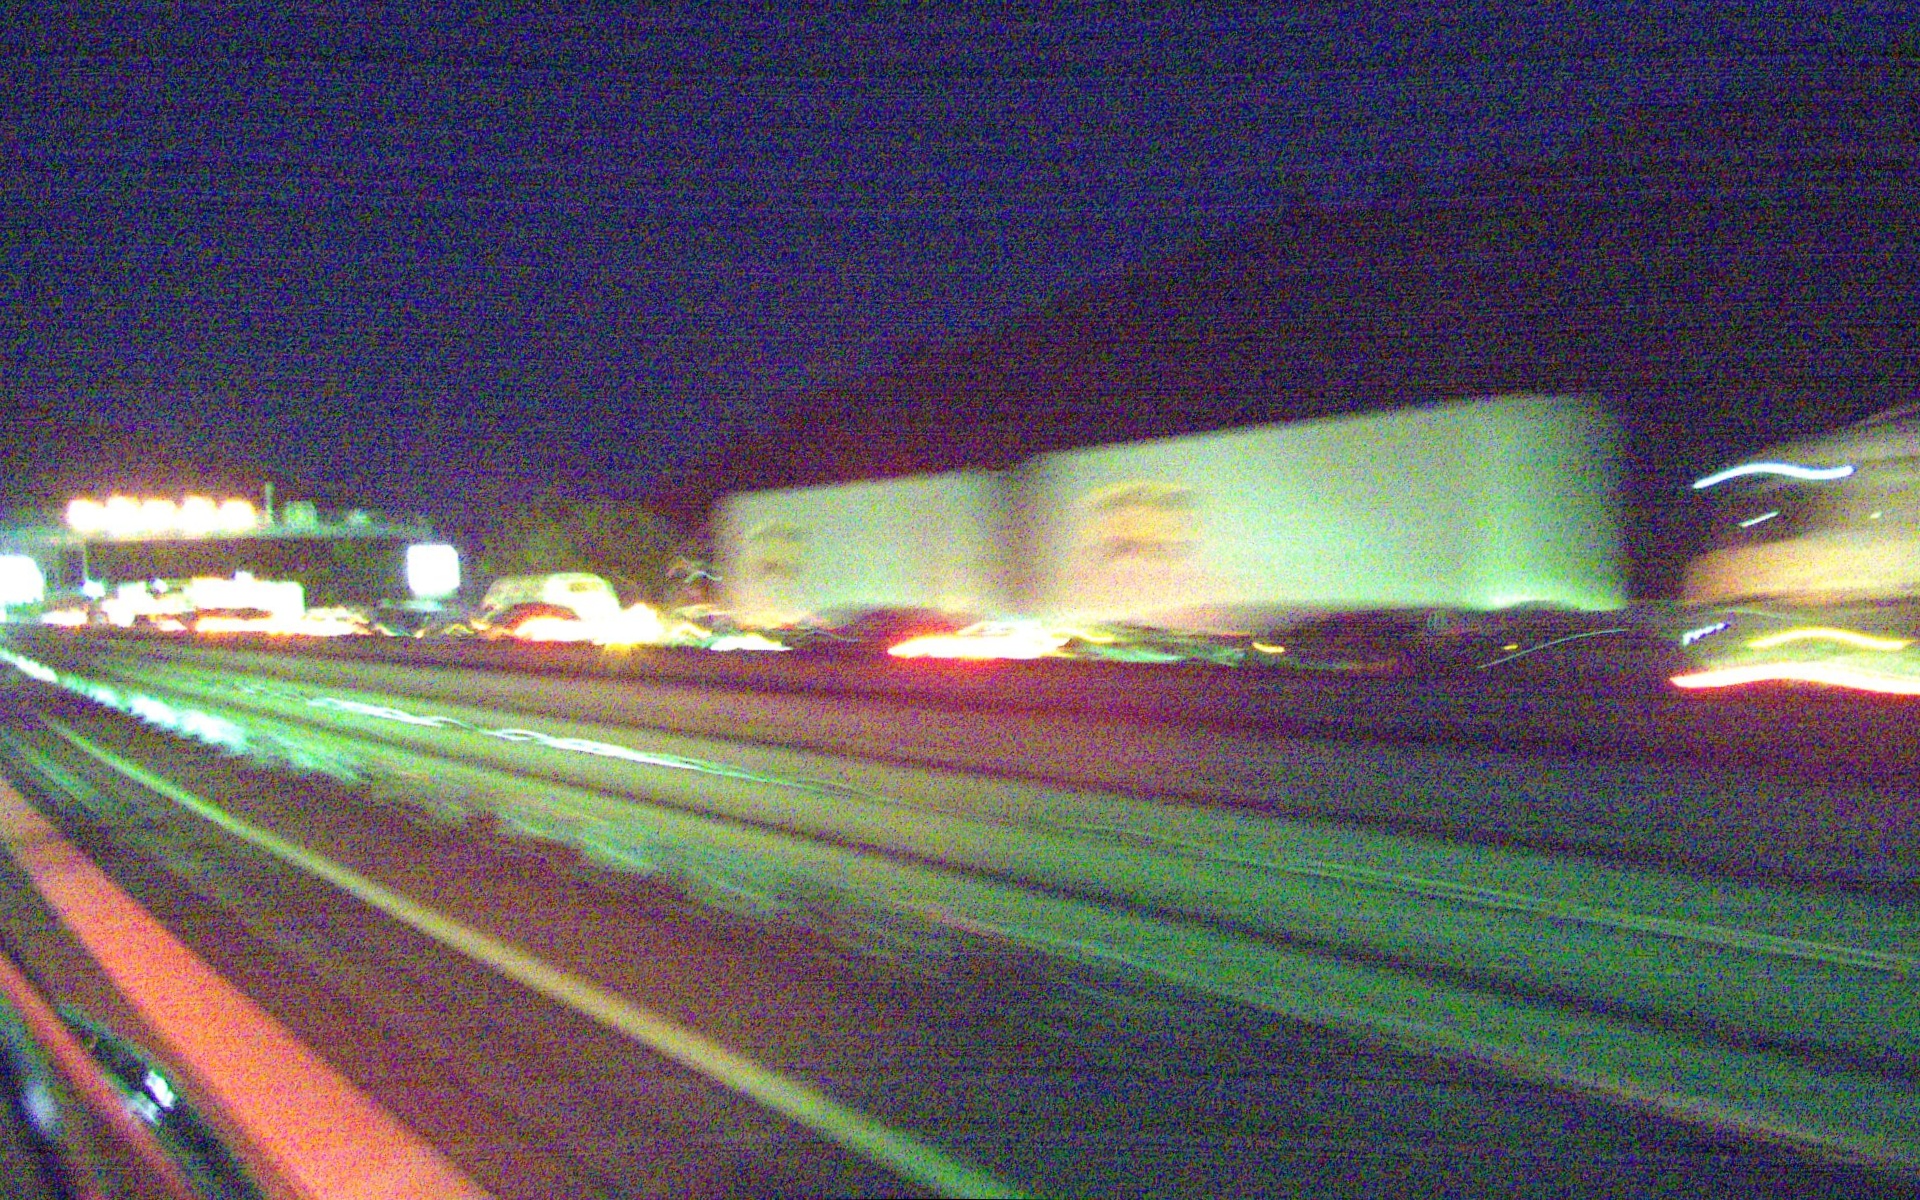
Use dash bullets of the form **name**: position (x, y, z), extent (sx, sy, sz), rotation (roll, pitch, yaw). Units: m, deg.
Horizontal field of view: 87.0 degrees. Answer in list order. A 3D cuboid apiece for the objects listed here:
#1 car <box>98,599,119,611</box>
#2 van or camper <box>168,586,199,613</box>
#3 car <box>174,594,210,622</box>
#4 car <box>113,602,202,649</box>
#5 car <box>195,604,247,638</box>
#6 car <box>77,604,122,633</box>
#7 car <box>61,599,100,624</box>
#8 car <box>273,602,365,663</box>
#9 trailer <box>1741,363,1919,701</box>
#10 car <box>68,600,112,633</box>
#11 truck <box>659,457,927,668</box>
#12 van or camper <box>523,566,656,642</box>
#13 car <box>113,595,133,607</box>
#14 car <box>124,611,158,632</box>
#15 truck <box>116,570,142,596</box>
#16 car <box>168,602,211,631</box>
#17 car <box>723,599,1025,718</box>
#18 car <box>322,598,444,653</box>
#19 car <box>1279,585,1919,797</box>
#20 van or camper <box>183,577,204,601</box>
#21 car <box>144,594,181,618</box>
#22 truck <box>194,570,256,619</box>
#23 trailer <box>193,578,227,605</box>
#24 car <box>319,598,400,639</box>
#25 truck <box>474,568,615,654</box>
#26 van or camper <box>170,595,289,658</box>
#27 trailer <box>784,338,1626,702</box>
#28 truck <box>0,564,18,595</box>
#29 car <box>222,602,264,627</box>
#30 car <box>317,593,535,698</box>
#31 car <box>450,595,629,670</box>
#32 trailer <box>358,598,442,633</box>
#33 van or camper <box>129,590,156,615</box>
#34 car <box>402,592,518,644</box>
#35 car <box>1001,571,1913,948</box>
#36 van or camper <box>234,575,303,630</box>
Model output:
- **car**: position (-104.229, 0.639, 123.884), extent (1.810, 1.462, 4.514), rotation (0, 0, -38)
- **van or camper**: position (-84.166, -0.087, 109.665), extent (2.414, 2.781, 6.500), rotation (0, 2, -40)
- **car**: position (-66.661, 0.679, 87.788), extent (2.105, 2.284, 4.569), rotation (1, 0, -42)
- **car**: position (-28.455, 0.859, 35.840), extent (4.870, 1.503, 1.882), rotation (0, 1, 45)
- **car**: position (-34.292, 0.932, 46.904), extent (1.678, 1.474, 3.487), rotation (-1, 0, -41)
- **car**: position (-40.609, 0.857, 47.756), extent (1.402, 1.266, 3.131), rotation (-2, 1, -44)
- **car**: position (-57.058, 0.740, 65.605), extent (1.661, 1.578, 4.002), rotation (0, 0, -45)
- **car**: position (-23.000, 1.116, 36.266), extent (4.111, 1.864, 1.659), rotation (1, 5, 42)
- **trailer**: position (16.534, -0.844, 10.484), extent (13.274, 4.203, 2.810), rotation (0, -2, 40)
- **car**: position (-49.738, 0.910, 57.809), extent (1.785, 1.754, 4.874), rotation (0, 1, -42)
- **truck**: position (-3.989, -0.758, 23.419), extent (6.102, 4.242, 2.836), rotation (0, 0, 40)
- **van or camper**: position (-14.241, 0.147, 38.616), extent (6.617, 2.676, 1.972), rotation (-1, 0, 43)
- **car**: position (-110.953, 0.090, 134.179), extent (1.796, 1.462, 4.515), rotation (0, 2, -38)
- **car**: position (-56.813, 1.487, 70.198), extent (1.515, 1.346, 4.224), rotation (0, 0, -43)
- **truck**: position (-122.078, -2.603, 148.745), extent (2.620, 3.617, 8.568), rotation (-2, 3, -38)
- **car**: position (-44.296, 0.906, 58.168), extent (1.621, 1.551, 4.005), rotation (0, 1, -42)
- **car**: position (-1.463, 0.748, 15.425), extent (4.870, 1.503, 1.882), rotation (0, 1, 45)
- **car**: position (-17.942, 0.766, 31.411), extent (4.346, 1.535, 1.878), rotation (1, -1, 40)
- **car**: position (5.883, 0.637, 9.487), extent (5.262, 1.503, 1.882), rotation (0, 1, 45)
- **van or camper**: position (-109.478, -1.592, 144.521), extent (2.240, 3.404, 5.707), rotation (0, 1, -38)
- **car**: position (-51.574, 0.358, 65.408), extent (1.621, 1.494, 4.368), rotation (0, 1, -42)
- **truck**: position (-52.714, -0.426, 72.491), extent (7.727, 3.284, 2.348), rotation (1, 0, 45)
- **trailer**: position (-126.418, -1.541, 170.750), extent (3.388, 4.272, 12.871), rotation (0, 1, -31)
- **car**: position (-27.383, 0.809, 46.096), extent (4.737, 1.666, 1.906), rotation (2, 2, 43)
- **truck**: position (-13.030, 0.328, 31.595), extent (5.046, 2.477, 1.973), rotation (0, 0, 40)
- **van or camper**: position (-19.133, 0.625, 26.421), extent (4.870, 1.476, 1.719), rotation (0, 1, 45)
- **trailer**: position (2.716, -0.853, 17.580), extent (14.515, 4.215, 2.846), rotation (-1, 0, 41)
- **truck**: position (-125.299, -2.649, 132.224), extent (2.857, 4.001, 4.007), rotation (-2, 3, -39)
- **car**: position (-46.861, 0.918, 66.109), extent (1.621, 1.551, 4.442), rotation (0, 1, -43)
- **car**: position (-9.157, 0.660, 17.148), extent (4.870, 1.503, 1.882), rotation (0, 1, 45)
- **car**: position (-9.589, 0.653, 22.869), extent (4.937, 1.503, 1.883), rotation (0, 1, 43)
- **trailer**: position (-30.096, 0.779, 54.241), extent (6.547, 1.739, 2.231), rotation (0, 0, 45)
- **van or camper**: position (-89.334, 0.268, 110.546), extent (2.226, 2.614, 6.699), rotation (1, 0, -39)
- **car**: position (-17.687, 0.599, 35.682), extent (5.077, 1.689, 1.866), rotation (0, 0, 41)
- **car**: position (2.688, 0.620, 6.423), extent (4.870, 1.503, 1.882), rotation (0, 1, 45)
- **van or camper**: position (-40.077, 0.150, 58.572), extent (2.196, 3.026, 7.130), rotation (-1, 0, -43)
